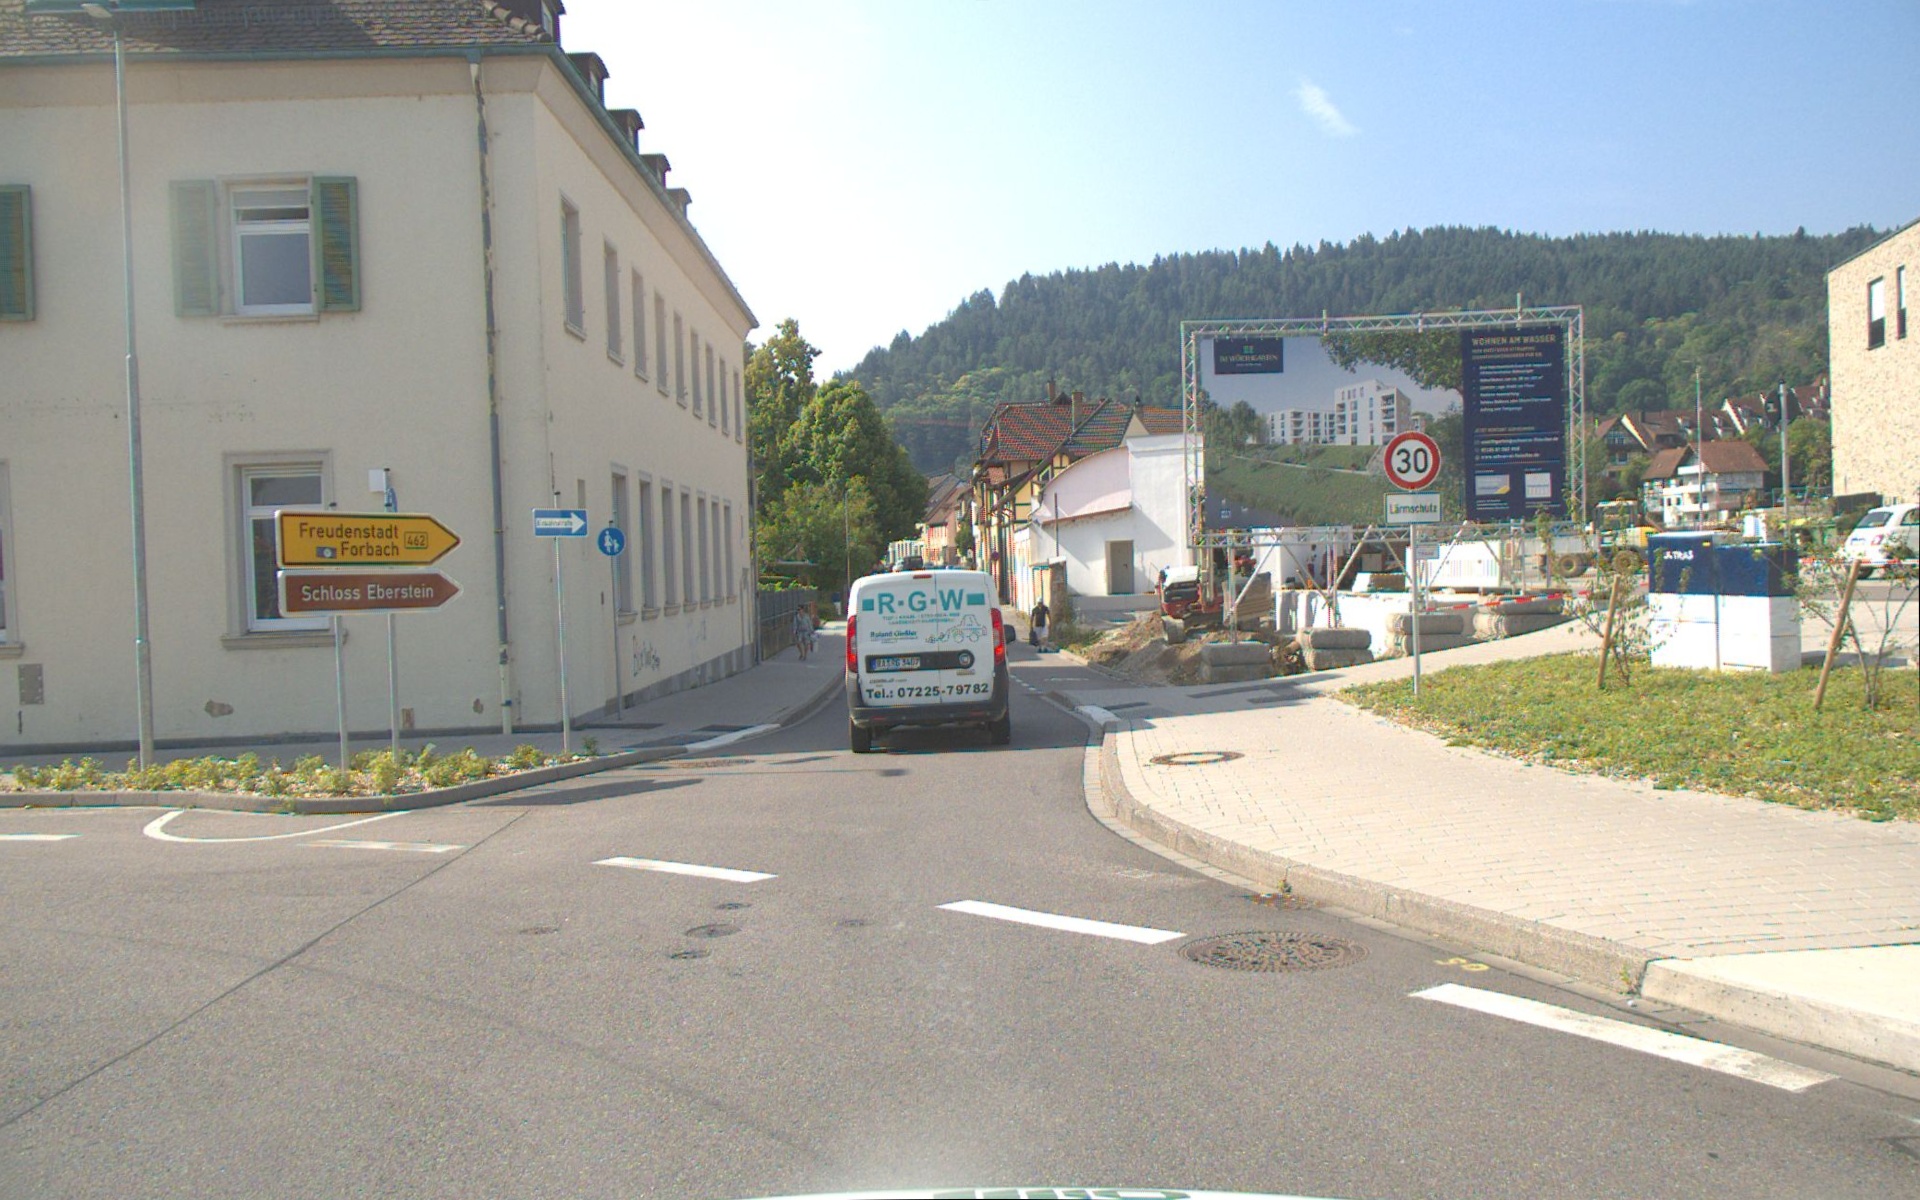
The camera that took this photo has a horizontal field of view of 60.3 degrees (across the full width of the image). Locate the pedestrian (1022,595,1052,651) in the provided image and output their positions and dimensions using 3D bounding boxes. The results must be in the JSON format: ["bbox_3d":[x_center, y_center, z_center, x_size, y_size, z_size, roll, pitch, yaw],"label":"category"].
[{"bbox_3d":[2.373,0.708,51.221,0.870,1.712,0.718,0,0,-2],"label":"pedestrian"}]

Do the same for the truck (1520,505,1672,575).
[{"bbox_3d":[24.279,-2.271,63.178,5.208,2.305,2.218,-3,0,25],"label":"truck"}]

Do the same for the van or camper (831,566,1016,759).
[{"bbox_3d":[-0.327,0.658,19.026,1.790,1.876,4.189,-3,-1,1],"label":"van or camper"}]

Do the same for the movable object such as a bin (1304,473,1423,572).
[{"bbox_3d":[15.909,-3.025,64.986,2.799,3.684,5.720,1,2,33],"label":"movable object such as a bin"}]

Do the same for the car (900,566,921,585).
[{"bbox_3d":[-4.294,-2.116,142.527,1.774,1.624,3.926,0,2,-2],"label":"car"}]

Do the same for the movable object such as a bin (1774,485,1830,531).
[{"bbox_3d":[27.598,-2.994,54.223,1.271,1.489,1.321,0,2,9],"label":"movable object such as a bin"}]

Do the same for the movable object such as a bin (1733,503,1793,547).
[{"bbox_3d":[27.946,-2.600,57.578,1.546,1.489,1.321,0,2,9],"label":"movable object such as a bin"}]

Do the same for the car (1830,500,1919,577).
[{"bbox_3d":[20.624,-1.360,35.189,3.337,1.521,1.594,-3,0,-2],"label":"car"}]

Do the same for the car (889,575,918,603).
[{"bbox_3d":[-3.565,-0.699,104.426,1.774,1.624,3.925,0,2,-3],"label":"car"}]

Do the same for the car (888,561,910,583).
[{"bbox_3d":[-8.372,-3.842,226.842,2.818,2.884,6.121,-3,2,-3],"label":"car"}]

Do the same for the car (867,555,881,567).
[{"bbox_3d":[-11.550,-5.315,223.237,1.775,1.624,3.924,0,2,-5],"label":"car"}]

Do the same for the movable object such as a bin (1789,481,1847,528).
[{"bbox_3d":[27.441,-3.049,52.907,1.271,1.489,1.321,0,2,9],"label":"movable object such as a bin"}]

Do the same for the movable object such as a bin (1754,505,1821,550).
[{"bbox_3d":[27.836,-2.445,55.650,1.657,1.489,1.321,0,2,9],"label":"movable object such as a bin"}]

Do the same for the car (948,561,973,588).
[{"bbox_3d":[0.032,-2.027,130.238,1.833,2.048,3.999,-1,2,-2],"label":"car"}]

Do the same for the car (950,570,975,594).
[{"bbox_3d":[0.178,-1.304,120.228,1.774,1.624,3.926,0,2,-1],"label":"car"}]

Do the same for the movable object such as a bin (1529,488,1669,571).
[{"bbox_3d":[23.151,-2.526,59.940,4.520,2.614,1.925,-3,0,24],"label":"movable object such as a bin"}]

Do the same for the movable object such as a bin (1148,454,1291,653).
[{"bbox_3d":[5.582,-0.984,36.650,2.247,3.921,7.802,0,1,2],"label":"movable object such as a bin"}]

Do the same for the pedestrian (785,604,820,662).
[{"bbox_3d":[-4.675,0.978,49.180,0.938,1.659,0.758,2,0,-2],"label":"pedestrian"}]

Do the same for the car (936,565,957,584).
[{"bbox_3d":[-1.193,-2.279,146.618,1.636,1.534,3.998,-3,2,-3],"label":"car"}]
